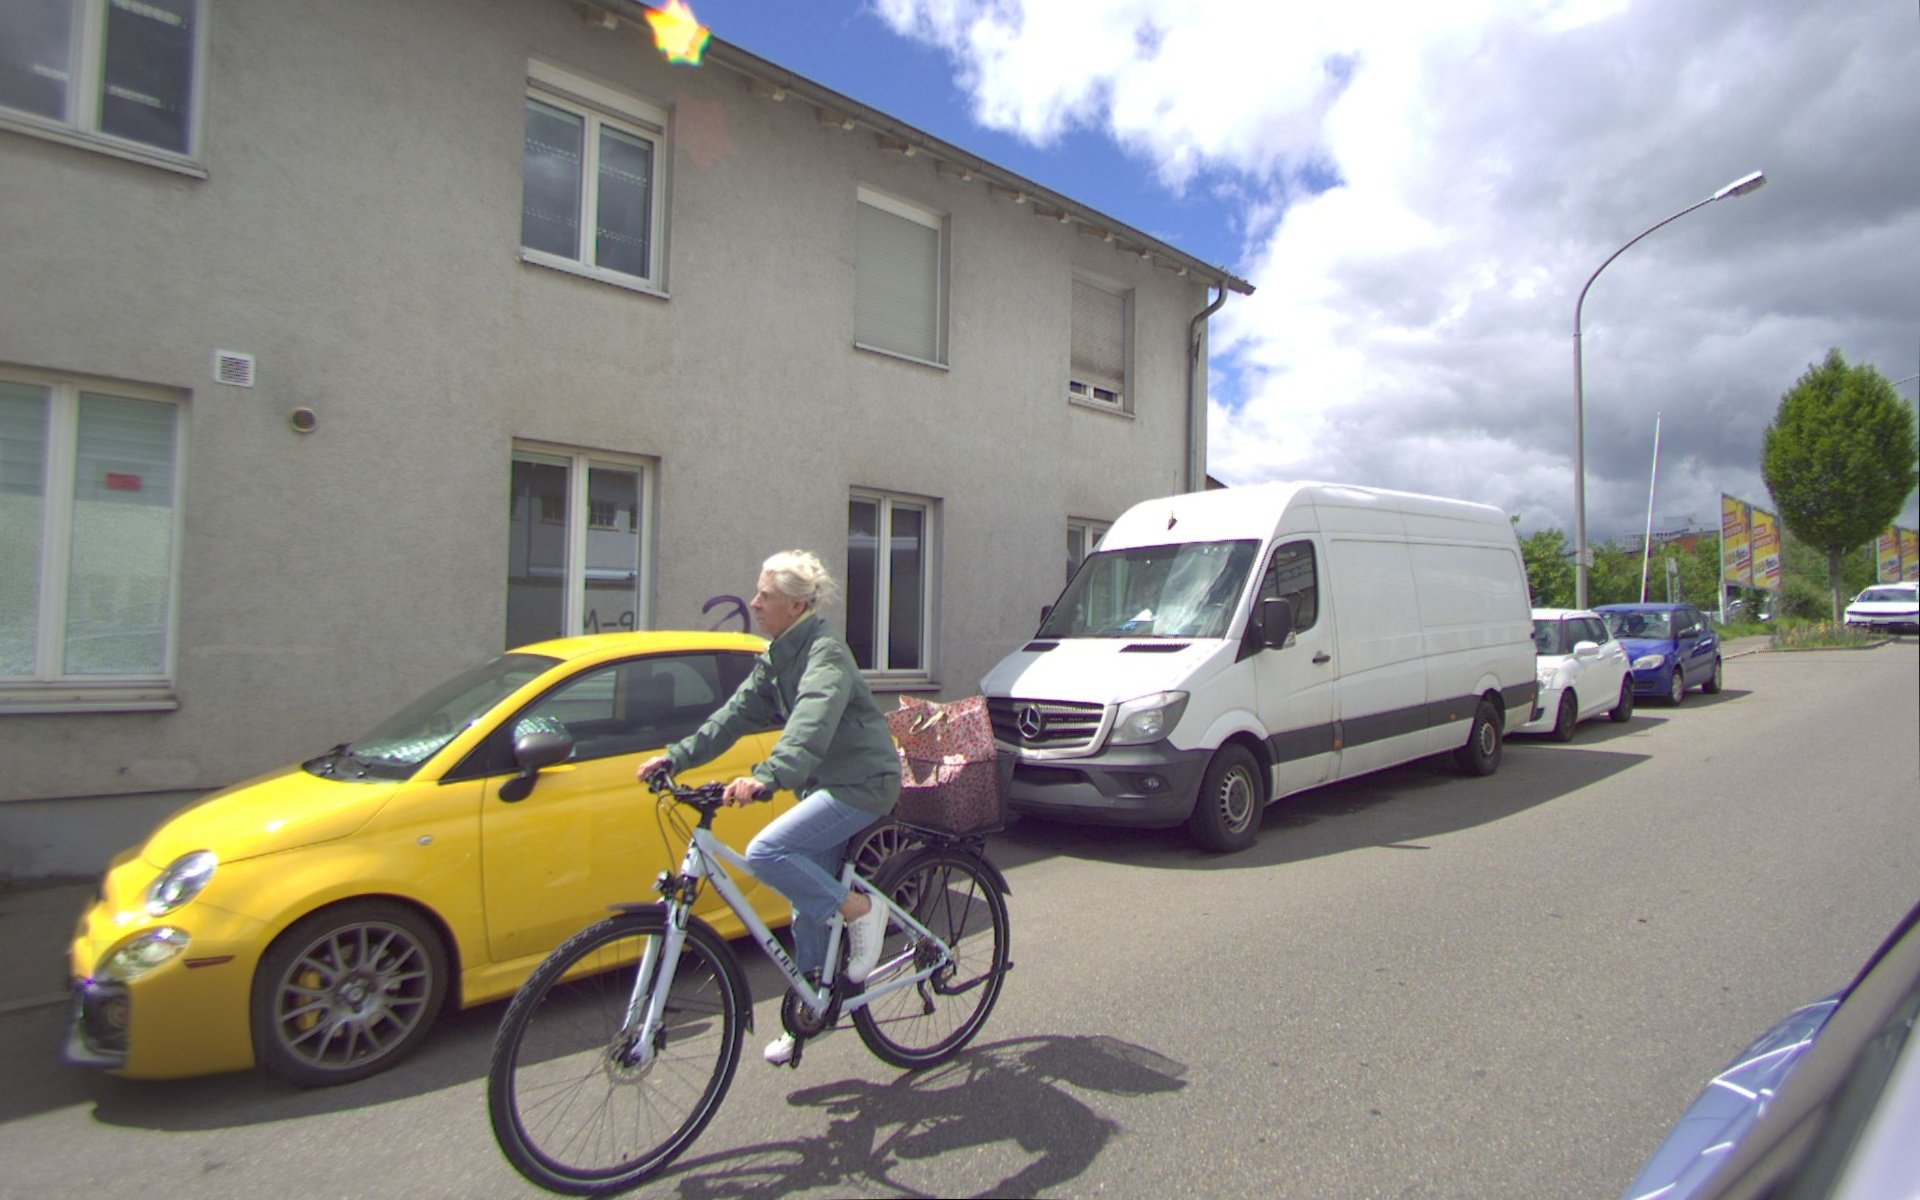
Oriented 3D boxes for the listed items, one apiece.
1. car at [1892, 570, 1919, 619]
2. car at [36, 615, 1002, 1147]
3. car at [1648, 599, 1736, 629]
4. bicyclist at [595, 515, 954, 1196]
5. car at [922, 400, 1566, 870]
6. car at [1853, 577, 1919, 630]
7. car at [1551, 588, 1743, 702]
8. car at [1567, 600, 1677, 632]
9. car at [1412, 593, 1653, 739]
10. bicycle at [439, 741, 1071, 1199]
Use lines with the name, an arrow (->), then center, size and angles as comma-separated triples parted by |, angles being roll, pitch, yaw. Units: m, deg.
car -> 35.212, -0.241, 36.585 | 4.401, 1.680, 1.688 | -2, 1, -40
car -> -1.712, 0.823, 4.699 | 3.723, 1.466, 1.595 | 0, -1, -40
car -> 40.750, 0.727, 56.437 | 1.752, 1.560, 4.004 | -1, 0, -5
bicyclist -> -0.549, 0.615, 2.971 | 0.719, 1.647, 0.740 | -1, 0, -43
car -> 3.034, 0.227, 8.958 | 7.159, 2.675, 2.035 | 1, -1, -43
car -> 30.685, 0.052, 32.844 | 4.386, 1.584, 1.846 | -2, 2, -39
car -> 11.005, 0.626, 16.102 | 4.024, 1.529, 1.569 | -2, 0, -42
car -> 34.583, 0.804, 53.007 | 1.958, 1.574, 4.469 | -1, 0, -22
car -> 7.371, 0.720, 12.892 | 3.726, 1.529, 1.594 | -2, 0, -43
bicycle -> -0.509, 1.024, 2.996 | 1.703, 0.988, 0.741 | 0, -1, -43
